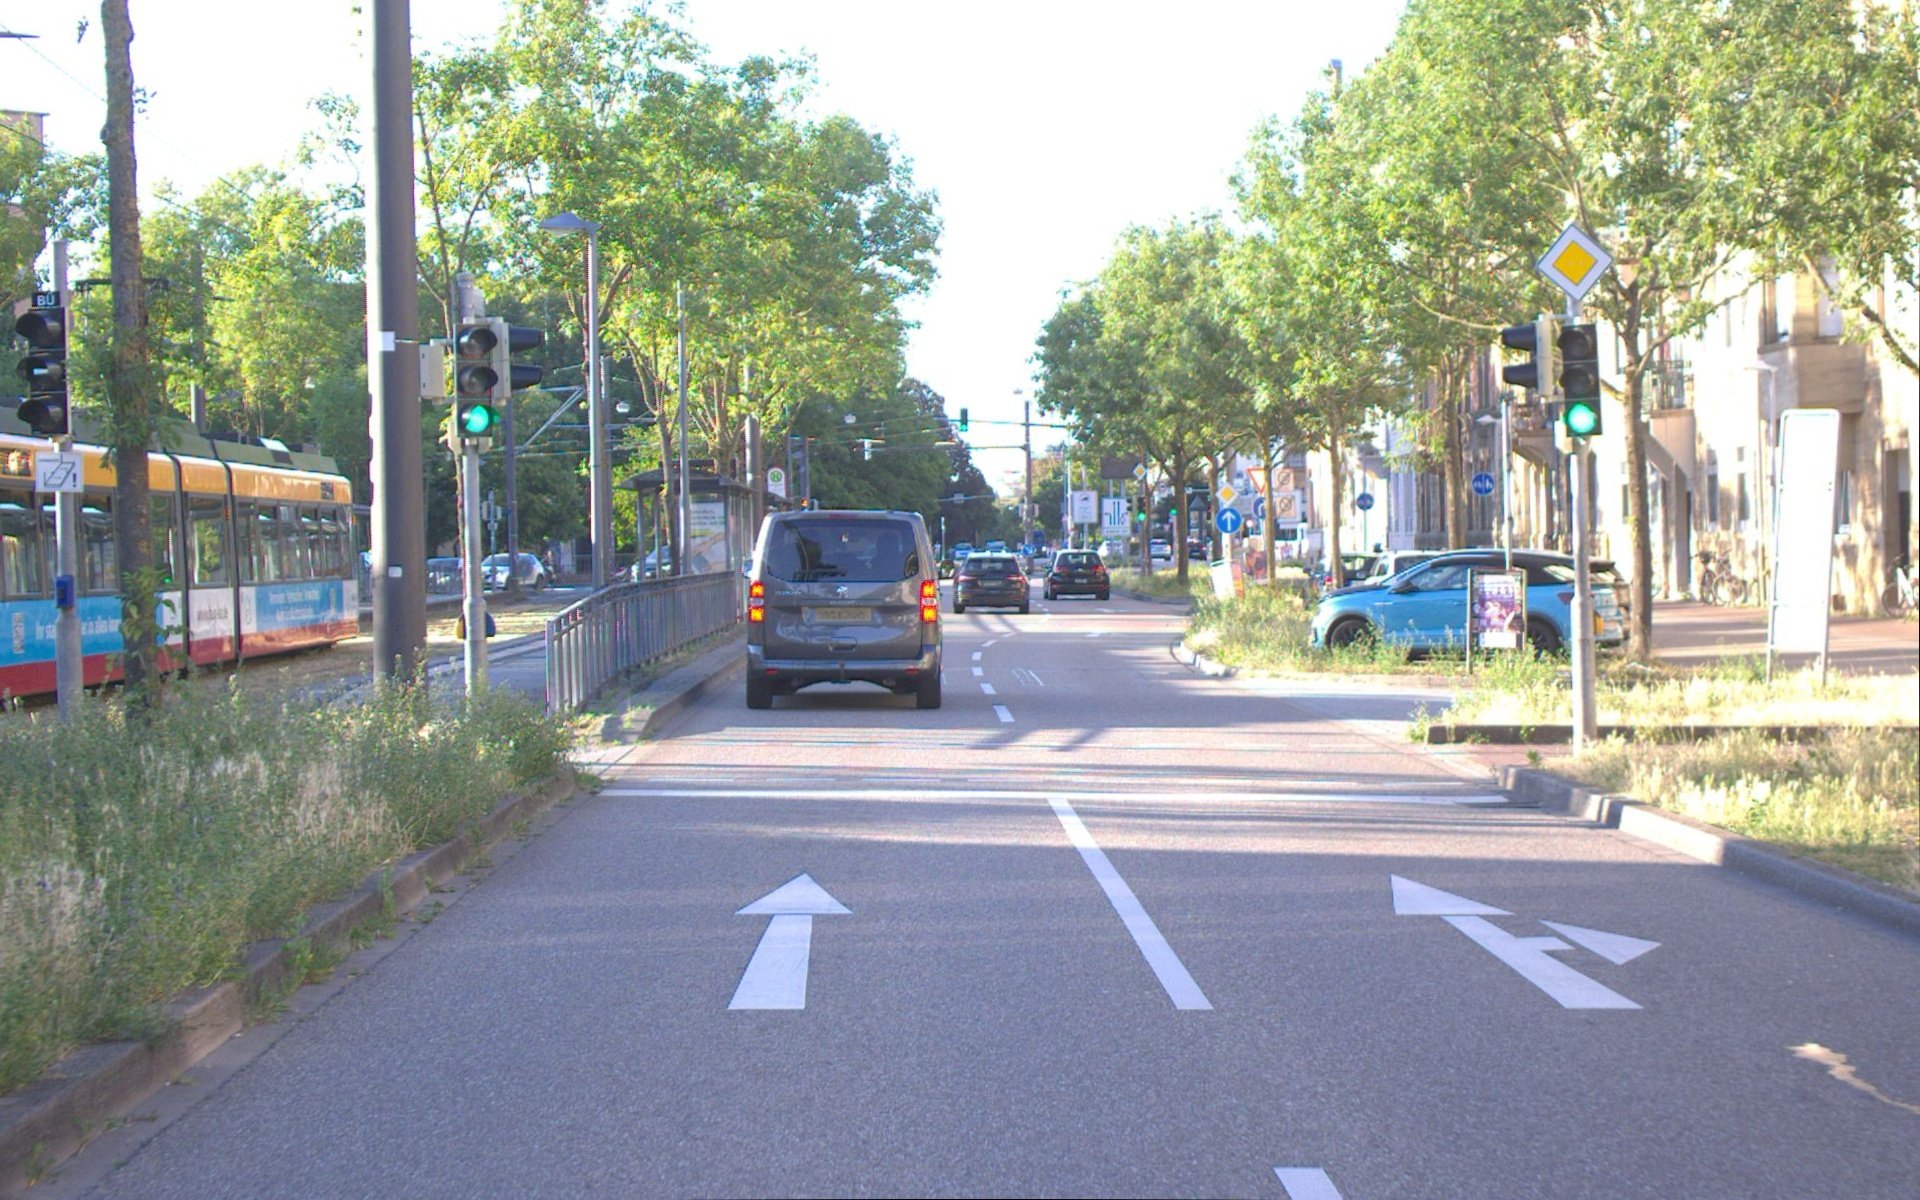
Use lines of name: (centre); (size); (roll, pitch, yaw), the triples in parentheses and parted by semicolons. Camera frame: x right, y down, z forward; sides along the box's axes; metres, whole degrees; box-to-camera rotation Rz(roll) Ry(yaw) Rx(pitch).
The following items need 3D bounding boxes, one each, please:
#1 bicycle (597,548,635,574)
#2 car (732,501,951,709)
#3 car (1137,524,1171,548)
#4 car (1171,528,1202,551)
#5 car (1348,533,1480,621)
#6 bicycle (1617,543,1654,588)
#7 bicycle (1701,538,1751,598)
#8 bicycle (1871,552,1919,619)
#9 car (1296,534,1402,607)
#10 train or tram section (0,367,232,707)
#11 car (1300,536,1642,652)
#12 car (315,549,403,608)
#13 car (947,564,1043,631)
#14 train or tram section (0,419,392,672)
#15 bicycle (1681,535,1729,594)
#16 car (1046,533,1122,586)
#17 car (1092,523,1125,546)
bicycle: (-15.935, -1.815, 159.152); (1.717, 1.138, 0.559); (-2, 2, -42)
car: (-1.096, 0.010, 33.770); (1.993, 1.894, 4.299); (1, 1, 0)
car: (14.013, -4.634, 248.879); (1.993, 1.651, 4.300); (-1, 1, -3)
car: (16.534, -4.436, 251.483); (1.993, 1.651, 4.299); (-1, 1, 1)
car: (8.281, -0.444, 62.981); (1.725, 1.507, 4.273); (2, 1, -1)
bicycle: (15.344, -0.796, 78.108); (0.483, 1.002, 1.746); (-1, 1, 0)
bicycle: (15.496, -0.657, 69.585); (0.483, 1.161, 1.746); (-6, 1, 0)
bicycle: (15.749, -0.257, 57.297); (0.572, 1.070, 1.897); (-2, 1, -1)
car: (8.167, -0.646, 72.444); (1.704, 1.443, 4.289); (2, 1, 0)
train or tram section: (-11.395, -0.672, 38.415); (3.431, 3.418, 15.028); (-1, 1, -1)
car: (7.022, -0.091, 47.349); (4.281, 1.517, 1.844); (0, 1, 32)
car: (-17.426, -0.643, 99.808); (1.859, 1.648, 4.000); (-1, 1, -1)
car: (0.806, -0.079, 81.386); (1.993, 1.505, 4.001); (0, 1, -3)
train or tram section: (-11.555, -0.833, 52.926); (3.431, 3.328, 13.858); (-1, 1, -1)
bicycle: (15.479, -0.740, 71.488); (0.483, 1.161, 1.746); (-6, 1, 0)
car: (3.569, -1.194, 99.711); (1.993, 1.505, 4.000); (0, 1, -1)
car: (10.910, -4.820, 253.457); (1.993, 1.651, 4.300); (-1, 1, -3)
